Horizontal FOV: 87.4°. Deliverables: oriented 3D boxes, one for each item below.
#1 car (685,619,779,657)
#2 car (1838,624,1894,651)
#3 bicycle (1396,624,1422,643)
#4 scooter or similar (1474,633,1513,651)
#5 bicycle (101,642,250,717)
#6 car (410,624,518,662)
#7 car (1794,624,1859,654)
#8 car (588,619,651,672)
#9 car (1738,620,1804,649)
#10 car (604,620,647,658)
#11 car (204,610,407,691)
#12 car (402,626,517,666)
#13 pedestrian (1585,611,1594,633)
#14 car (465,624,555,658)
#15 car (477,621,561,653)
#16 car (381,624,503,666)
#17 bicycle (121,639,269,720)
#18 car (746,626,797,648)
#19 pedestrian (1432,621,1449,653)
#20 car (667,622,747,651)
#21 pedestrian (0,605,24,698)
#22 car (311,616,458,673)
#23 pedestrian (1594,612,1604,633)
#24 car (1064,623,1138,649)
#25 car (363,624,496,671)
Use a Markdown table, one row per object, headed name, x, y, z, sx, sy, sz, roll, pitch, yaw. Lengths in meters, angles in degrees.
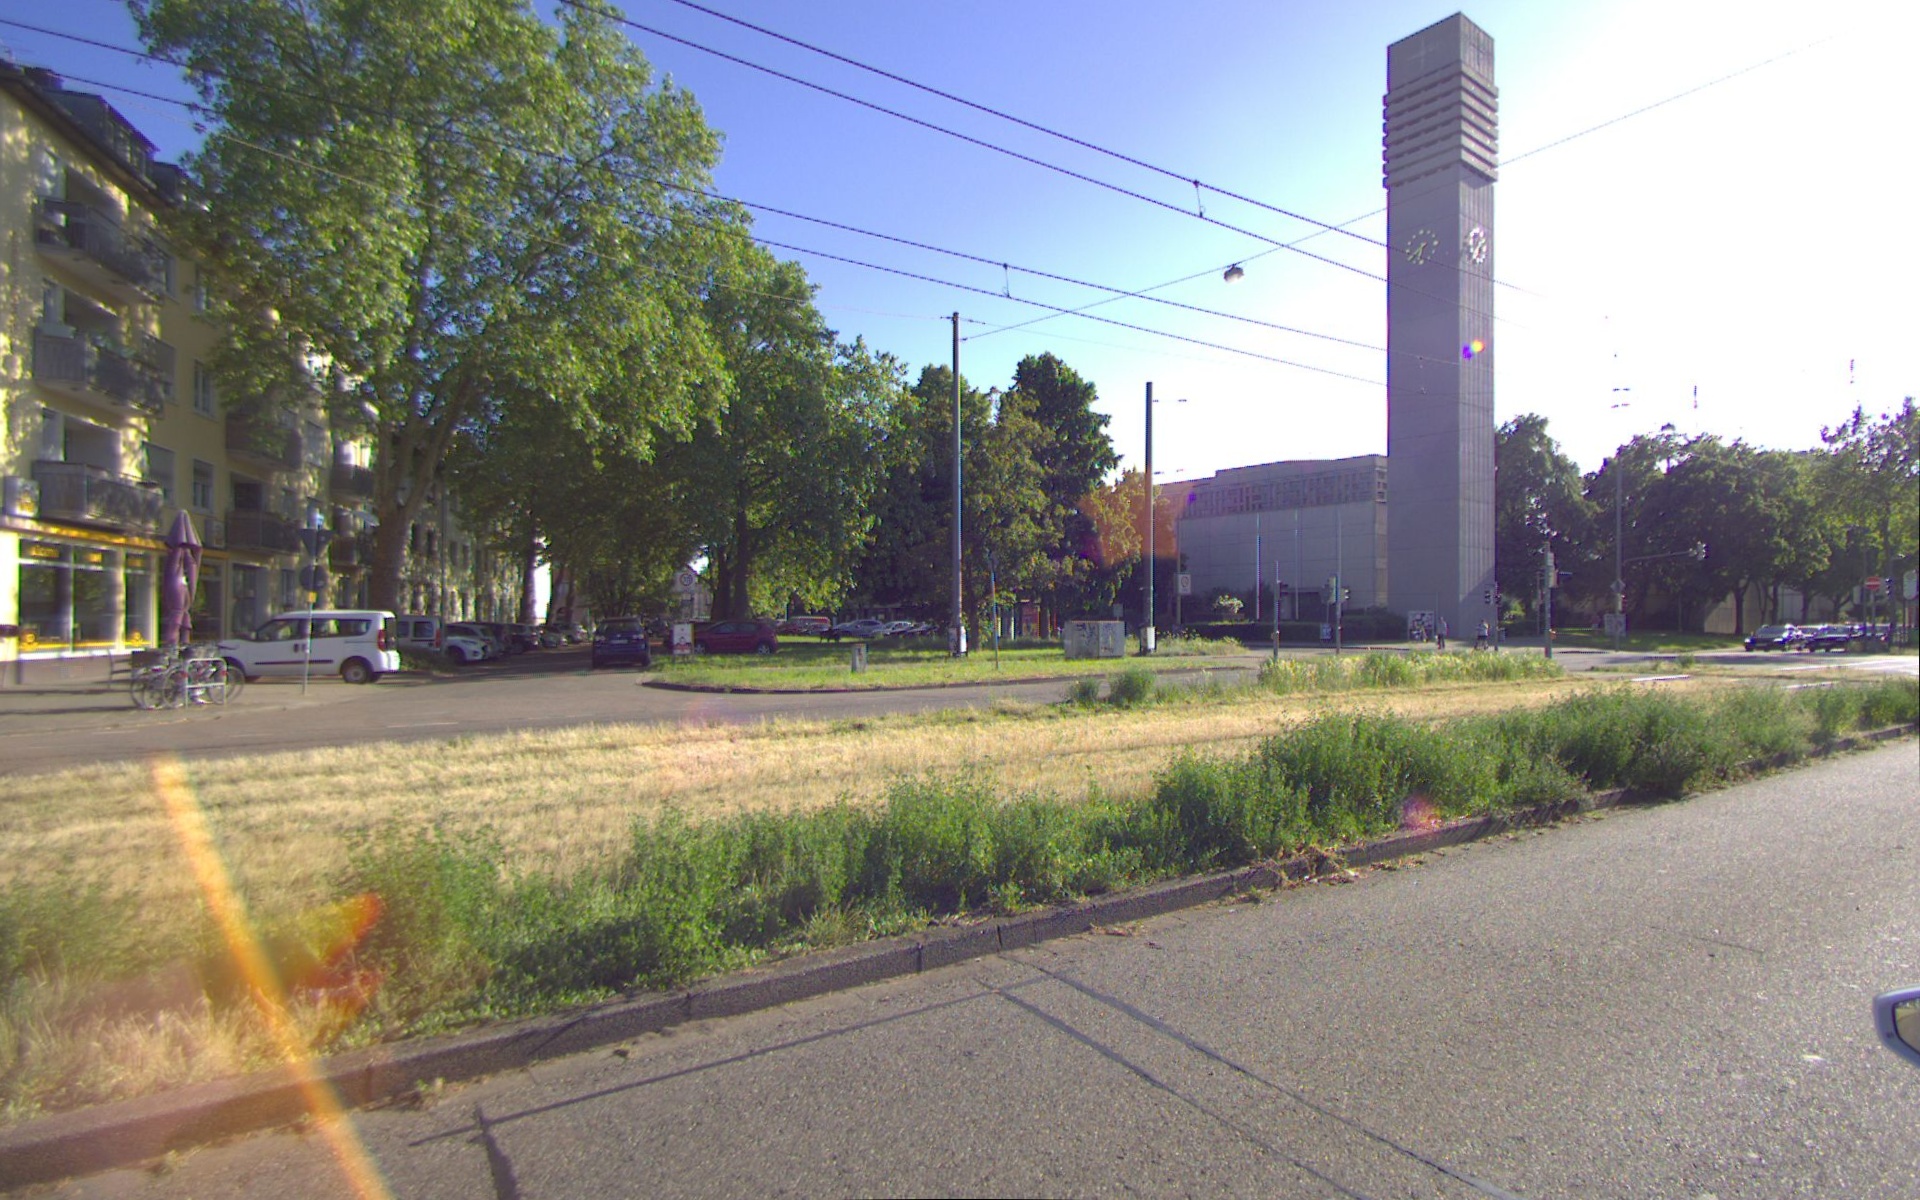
| name | x | y | z | sx | sy | sz | roll | pitch | yaw |
| --- | --- | --- | --- | --- | --- | --- | --- | --- | --- |
| car | -9.201 | 1.517 | 40.493 | 3.589 | 1.399 | 1.639 | 1 | 1 | -17 |
| car | 52.204 | 2.144 | 57.853 | 3.875 | 1.421 | 1.556 | 1 | 1 | -35 |
| bicycle | 26.933 | 2.005 | 60.240 | 1.662 | 1.060 | 0.489 | 1 | 1 | -28 |
| scooter or similar | 28.246 | 2.202 | 53.201 | 1.714 | 0.911 | 0.561 | -1 | -1 | 41 |
| bicycle | -13.839 | 1.372 | 17.800 | 0.509 | 1.200 | 2.090 | 2 | -1 | 21 |
| car | -21.997 | 1.947 | 44.682 | 3.933 | 1.635 | 1.877 | 1 | -3 | -15 |
| car | 47.096 | 2.113 | 54.591 | 4.317 | 1.553 | 1.676 | 1 | -1 | -35 |
| car | -11.164 | 1.442 | 33.112 | 1.721 | 1.622 | 3.987 | 0 | -1 | -16 |
| car | 45.621 | 1.919 | 56.487 | 4.317 | 1.553 | 1.795 | 1 | -1 | -35 |
| car | -15.850 | 1.808 | 47.746 | 1.721 | 1.706 | 3.987 | 0 | -1 | -16 |
| car | -16.450 | 1.238 | 25.506 | 3.940 | 1.851 | 1.990 | 1 | 1 | -21 |
| car | -20.919 | 1.951 | 42.152 | 3.933 | 1.635 | 1.877 | 1 | -3 | -15 |
| pedestrian | 45.702 | 1.594 | 72.878 | 0.302 | 1.581 | 0.432 | 0 | 2 | -38 |
| car | -23.565 | 2.157 | 52.772 | 3.993 | 1.686 | 1.994 | 1 | -2 | -15 |
| car | -24.544 | 2.083 | 56.034 | 3.993 | 1.686 | 1.994 | 1 | -2 | -15 |
| car | -20.490 | 1.810 | 39.894 | 3.933 | 1.590 | 1.877 | 1 | -3 | -15 |
| bicycle | -13.328 | 1.346 | 17.586 | 0.509 | 1.268 | 2.089 | 2 | 0 | 21 |
| car | -15.912 | 3.092 | 84.896 | 3.959 | 1.795 | 1.657 | 0 | -1 | -35 |
| pedestrian | 26.060 | 2.016 | 54.511 | 0.736 | 1.689 | 0.441 | 1 | 1 | -25 |
| car | -13.209 | 1.886 | 52.392 | 3.937 | 1.400 | 1.579 | 0 | -1 | -18 |
| pedestrian | -19.079 | 1.008 | 19.835 | 0.678 | 1.809 | 0.836 | 2 | 2 | 42 |
| car | -19.636 | 1.545 | 34.459 | 3.933 | 1.867 | 1.995 | 1 | -3 | -15 |
| pedestrian | 46.069 | 1.625 | 72.366 | 0.484 | 1.527 | 0.432 | 0 | 2 | -38 |
| car | 9.186 | 2.319 | 65.831 | 1.983 | 1.420 | 4.664 | 0 | 1 | -40 |
| car | -19.730 | 1.779 | 37.578 | 3.993 | 1.686 | 1.994 | 1 | -2 | -15 |
